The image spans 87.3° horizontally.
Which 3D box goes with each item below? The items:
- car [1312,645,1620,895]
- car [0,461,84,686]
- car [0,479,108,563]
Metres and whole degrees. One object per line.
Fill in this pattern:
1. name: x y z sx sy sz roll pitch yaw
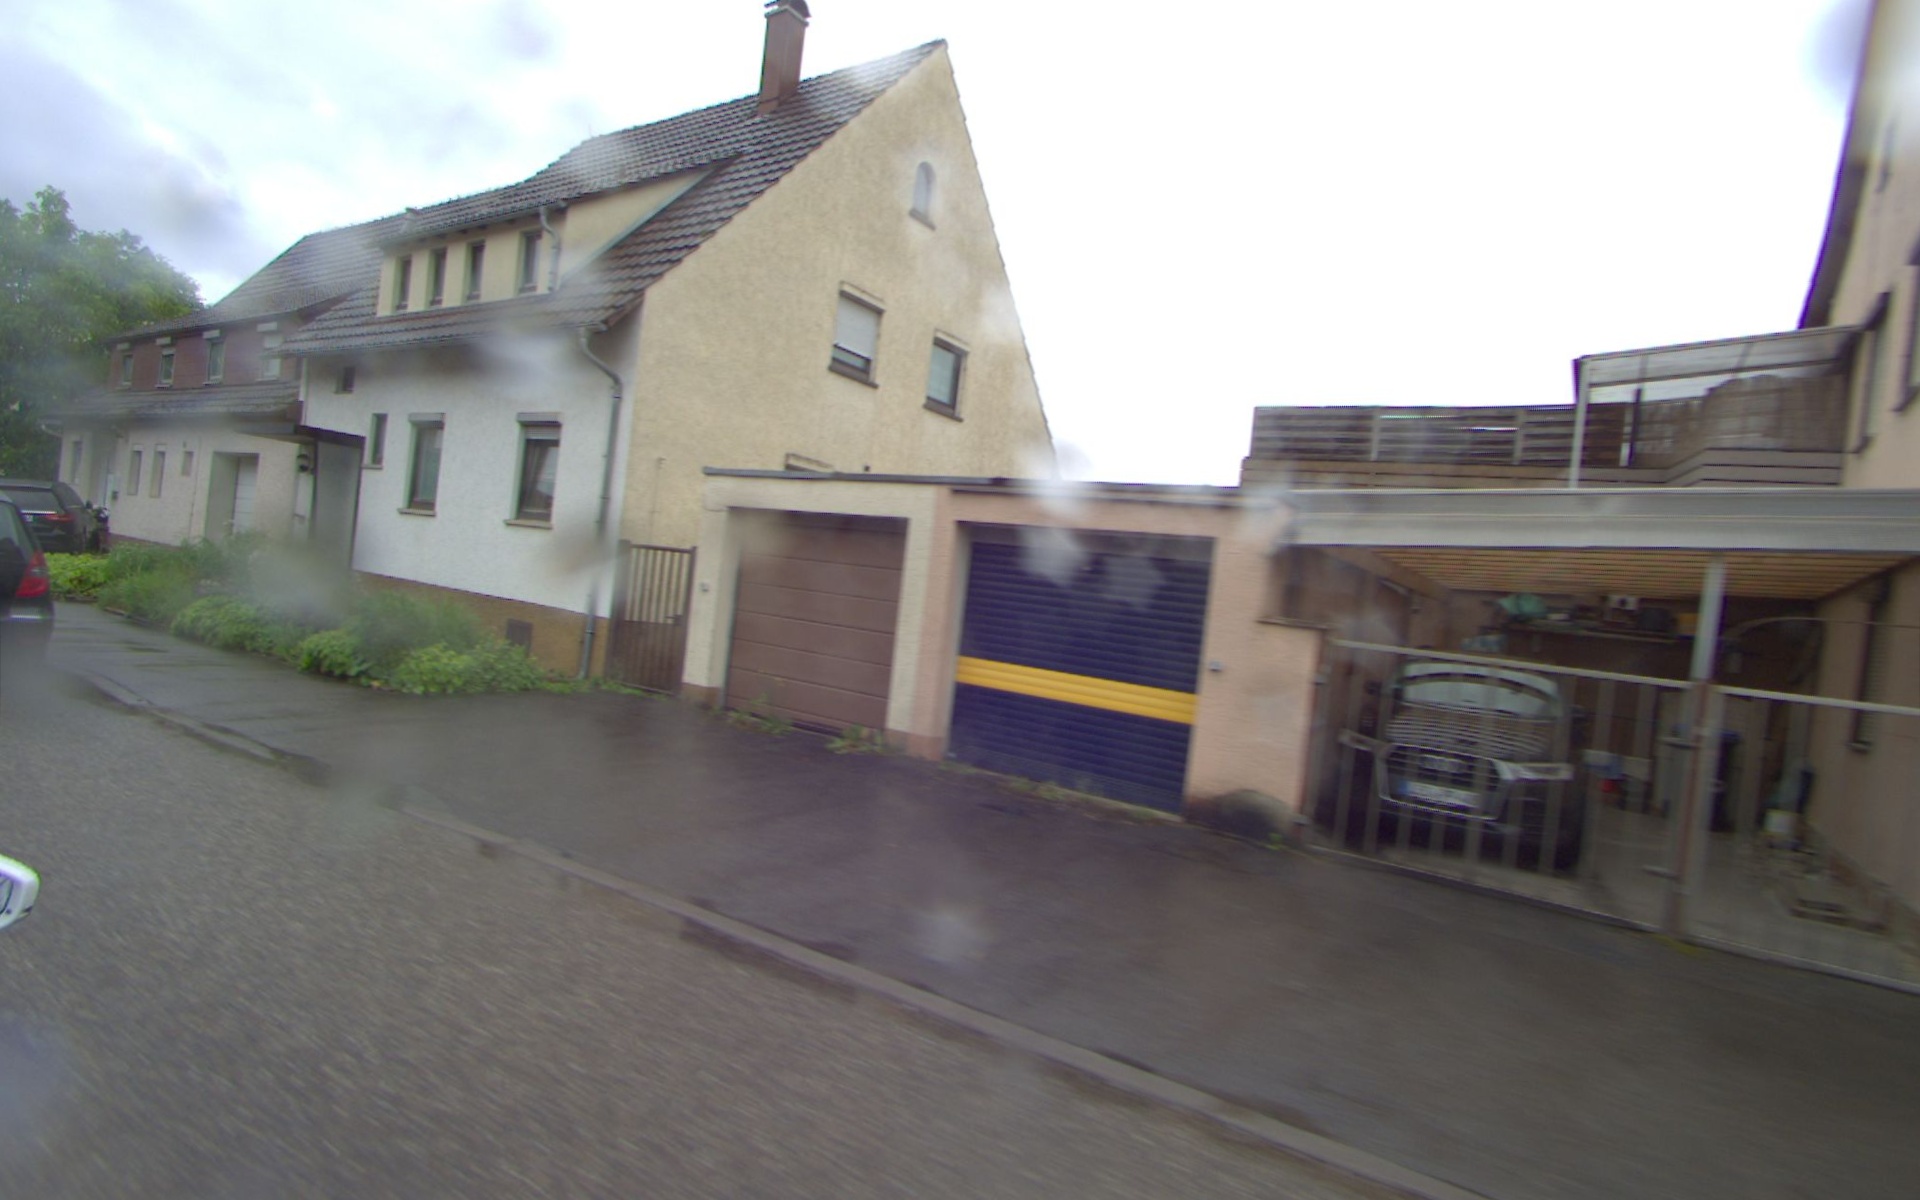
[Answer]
1. car: 4.610 1.270 8.832 1.779 1.476 3.916 7 1 35
2. car: -9.274 -0.411 8.429 3.934 1.731 1.751 7 0 32
3. car: -17.352 -1.526 18.867 1.746 1.414 3.959 0 5 -36
